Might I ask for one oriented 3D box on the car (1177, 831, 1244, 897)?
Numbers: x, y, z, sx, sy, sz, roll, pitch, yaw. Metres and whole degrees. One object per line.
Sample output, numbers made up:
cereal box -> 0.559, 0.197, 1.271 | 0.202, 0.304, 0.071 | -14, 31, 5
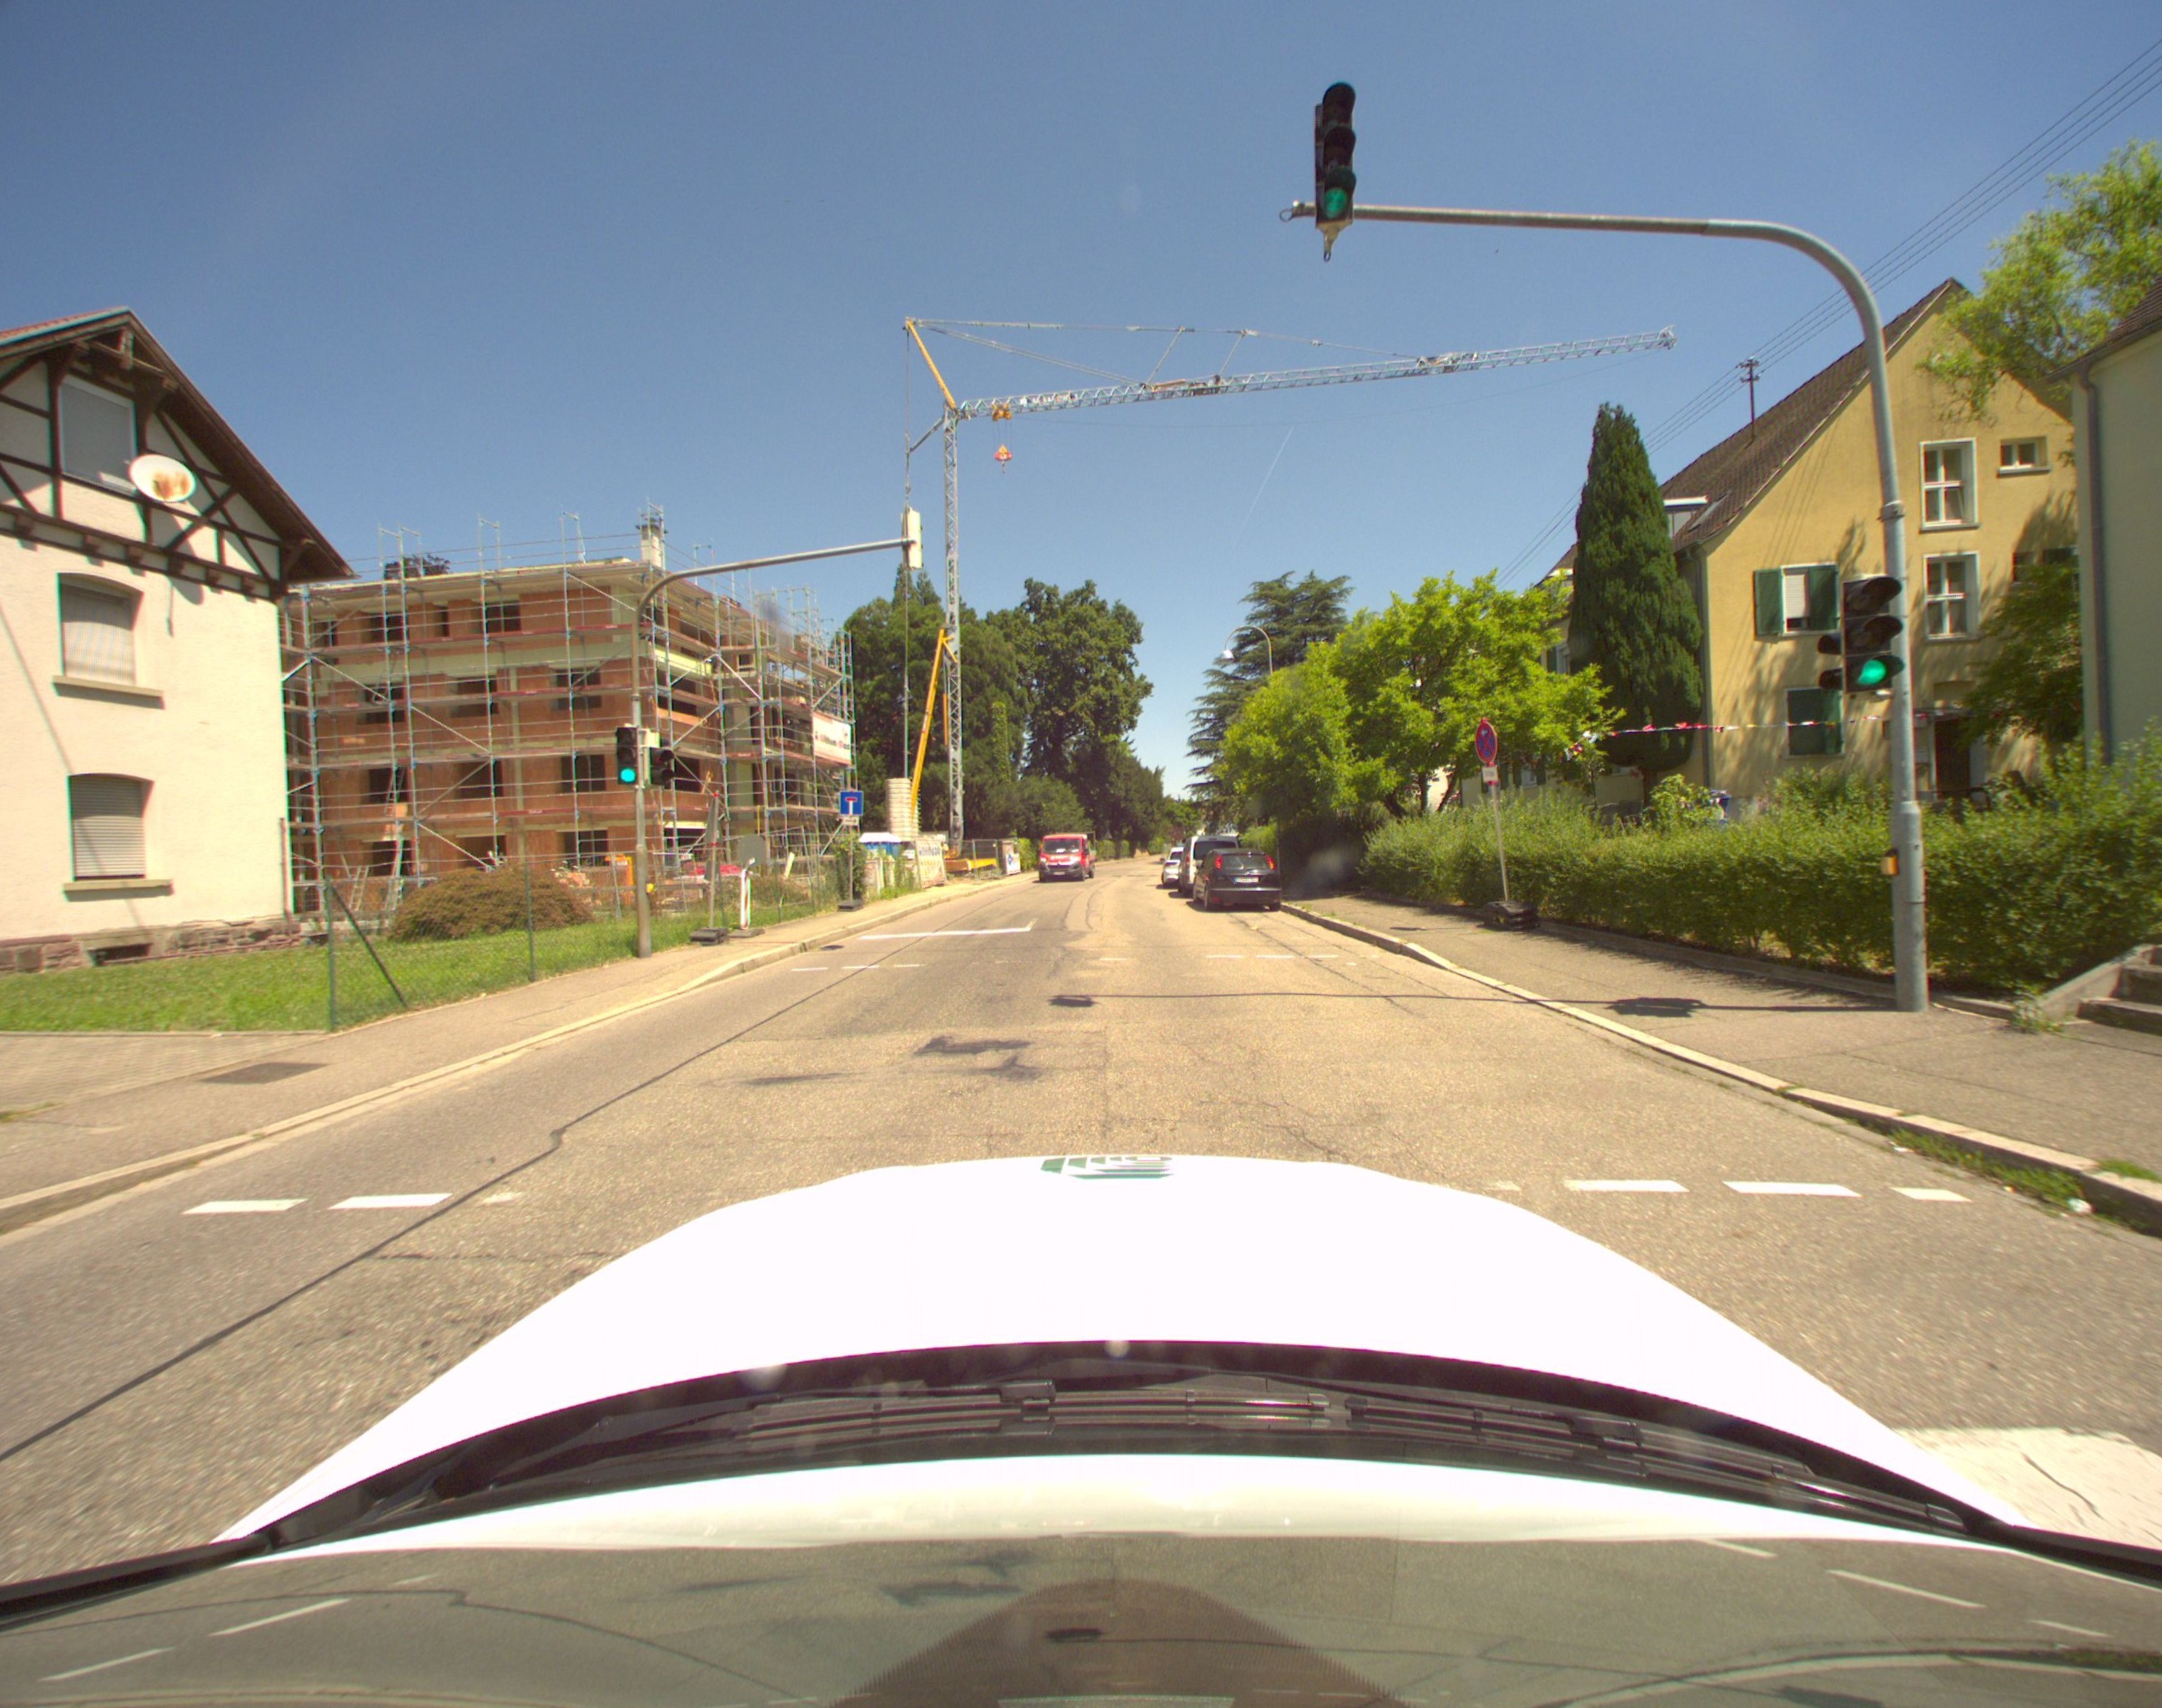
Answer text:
car -> 3.835, 0.268, 24.676 | 1.654, 1.803, 4.208 | 1, 0, 4

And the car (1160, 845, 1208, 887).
car -> 3.758, 0.403, 29.991 | 1.653, 1.435, 4.136 | 0, 0, 6

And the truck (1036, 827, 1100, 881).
truck -> -0.512, -0.053, 39.156 | 2.116, 2.338, 6.448 | -1, 1, 7

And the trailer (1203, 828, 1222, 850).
trailer -> 12.805, -1.448, 79.027 | 1.669, 2.067, 3.720 | 0, 1, 11

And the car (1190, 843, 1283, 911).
car -> 3.672, 0.485, 19.814 | 1.622, 1.463, 4.019 | 1, 0, 2
